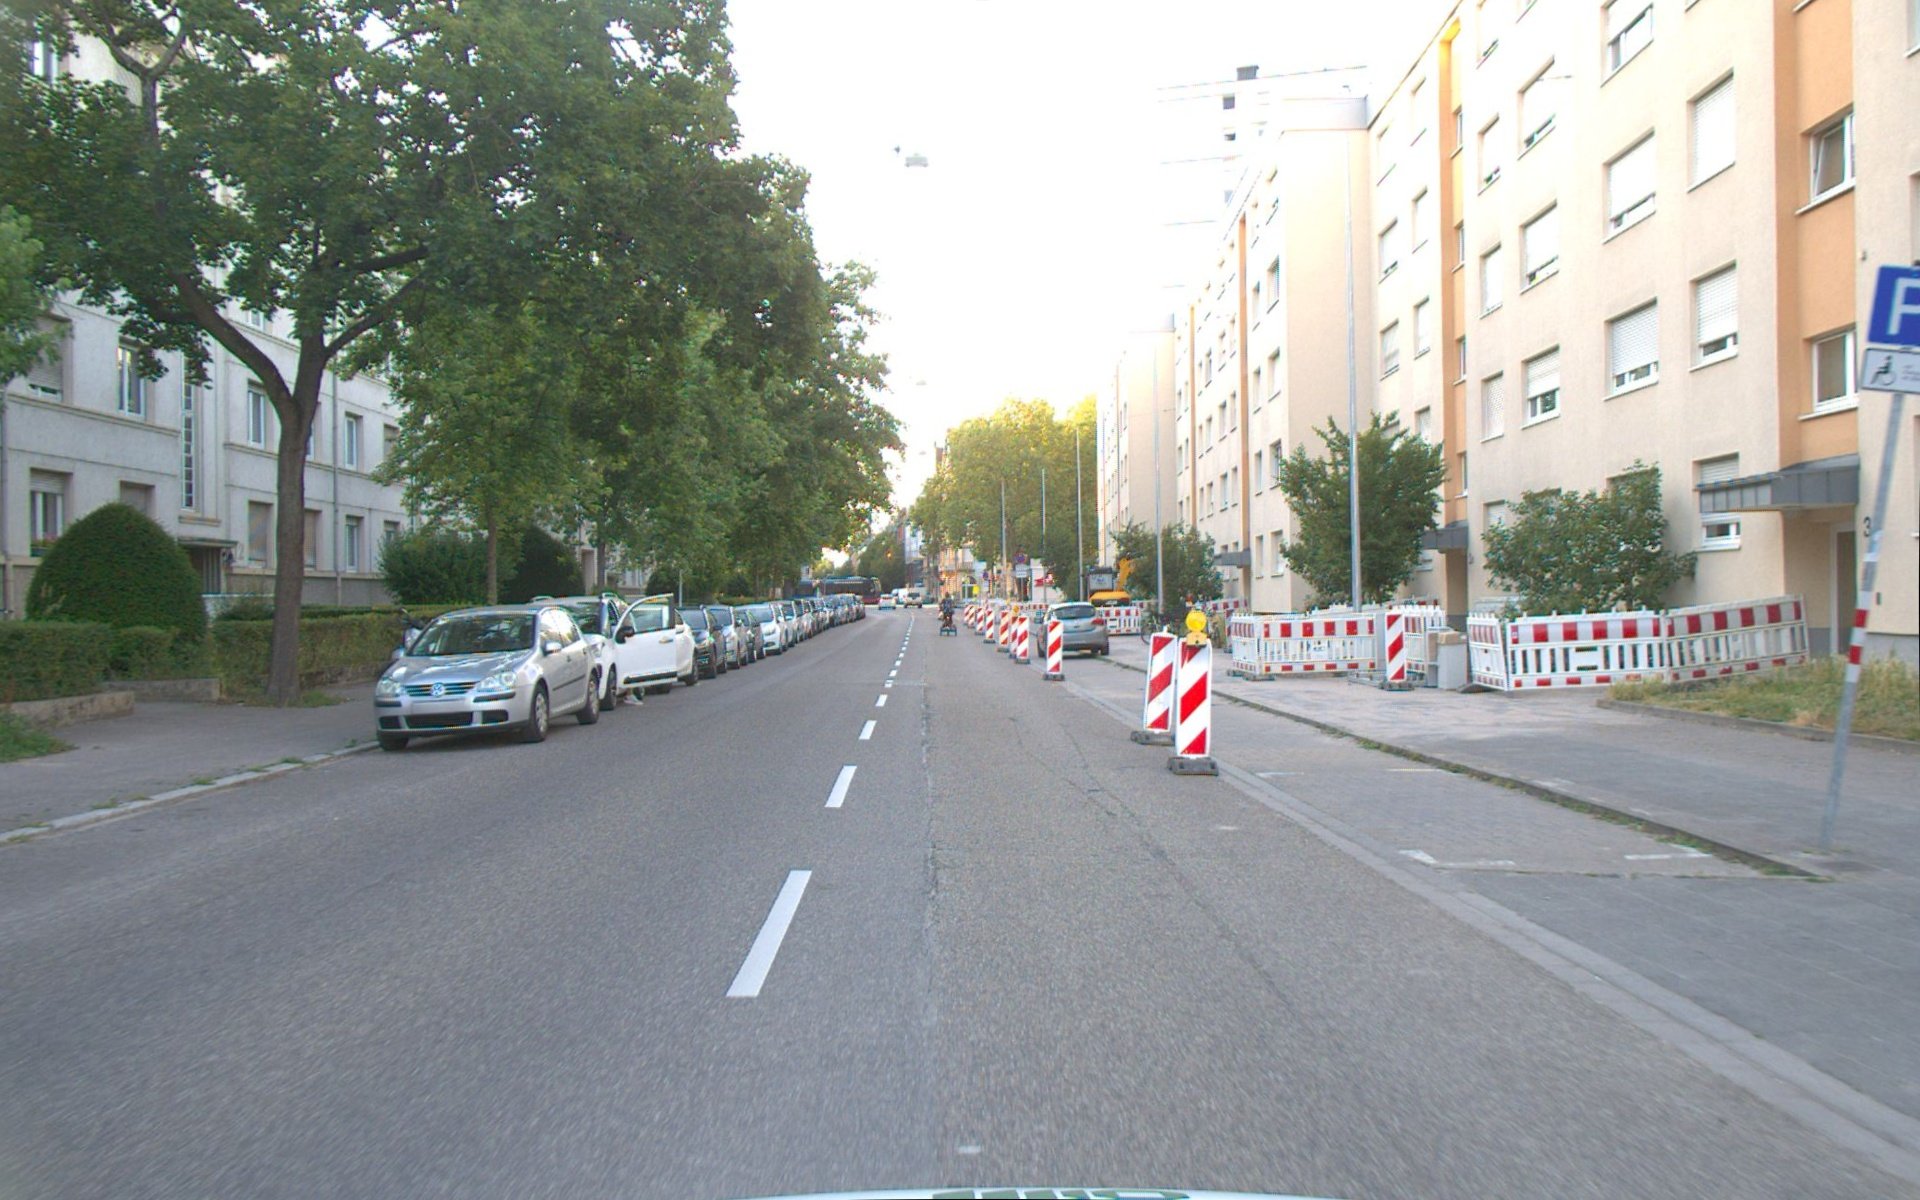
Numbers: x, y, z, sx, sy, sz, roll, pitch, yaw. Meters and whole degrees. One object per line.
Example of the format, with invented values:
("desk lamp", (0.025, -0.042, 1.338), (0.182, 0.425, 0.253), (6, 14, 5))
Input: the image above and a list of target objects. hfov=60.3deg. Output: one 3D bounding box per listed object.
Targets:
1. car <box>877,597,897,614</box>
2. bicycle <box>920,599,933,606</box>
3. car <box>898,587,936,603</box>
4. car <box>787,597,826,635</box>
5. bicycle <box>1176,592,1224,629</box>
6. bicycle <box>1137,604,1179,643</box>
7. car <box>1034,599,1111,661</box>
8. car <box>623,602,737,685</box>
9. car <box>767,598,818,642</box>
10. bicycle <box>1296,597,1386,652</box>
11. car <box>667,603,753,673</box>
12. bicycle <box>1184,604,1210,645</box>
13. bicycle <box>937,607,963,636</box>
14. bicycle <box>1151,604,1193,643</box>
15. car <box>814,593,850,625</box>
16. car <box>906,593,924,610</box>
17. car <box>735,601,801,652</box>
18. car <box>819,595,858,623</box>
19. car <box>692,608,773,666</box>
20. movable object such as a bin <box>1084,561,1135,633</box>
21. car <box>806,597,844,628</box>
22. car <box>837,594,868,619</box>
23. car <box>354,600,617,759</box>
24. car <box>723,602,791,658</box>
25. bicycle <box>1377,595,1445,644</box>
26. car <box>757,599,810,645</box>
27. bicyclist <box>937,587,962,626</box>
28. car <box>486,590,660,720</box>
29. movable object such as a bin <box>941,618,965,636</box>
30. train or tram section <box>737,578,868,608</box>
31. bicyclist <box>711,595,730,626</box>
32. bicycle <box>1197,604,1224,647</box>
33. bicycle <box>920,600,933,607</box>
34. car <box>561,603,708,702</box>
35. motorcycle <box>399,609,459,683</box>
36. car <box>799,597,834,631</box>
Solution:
("car", (-7.406, 0.521, 167.121), (1.829, 1.613, 3.997), (-1, 0, -4))
("bicycle", (-4.828, 0.325, 237.347), (1.877, 0.985, 0.545), (0, 0, -3))
("car", (-6.378, -0.747, 243.525), (5.780, 2.328, 2.038), (-1, 0, -45))
("car", (-6.806, 0.690, 73.461), (1.493, 1.555, 3.162), (-4, 0, -3))
("bicycle", (8.270, 0.351, 56.931), (1.562, 1.243, 0.484), (0, 0, -8))
("bicycle", (6.128, 0.721, 51.256), (0.548, 1.192, 1.805), (0, 0, -21))
("car", (3.096, 0.797, 46.317), (1.740, 1.516, 4.573), (-4, 0, 0))
("car", (-5.755, 0.846, 34.460), (1.718, 1.505, 4.676), (-4, 0, -3))
("car", (-6.518, 0.754, 64.537), (1.557, 1.555, 2.921), (-4, 0, 1))
("bicycle", (8.452, 0.551, 36.703), (1.775, 1.040, 0.558), (-6, -1, -1))
("car", (-5.927, 0.873, 39.506), (1.641, 1.485, 3.702), (-4, 0, -4))
("bicycle", (7.132, 0.730, 49.759), (0.544, 1.192, 1.817), (0, 0, 1))
("bicycle", (-0.428, 0.914, 71.943), (0.921, 1.192, 2.356), (-3, 0, -4))
("bicycle", (6.624, 0.730, 51.773), (0.616, 1.192, 1.808), (0, 0, -17))
("car", (-7.099, 0.510, 91.824), (1.673, 1.628, 4.115), (-4, 0, -1))
("car", (-4.932, 0.165, 181.377), (1.829, 1.846, 3.998), (-1, 0, -3))
("car", (-6.200, 0.842, 53.860), (1.658, 1.485, 4.482), (-4, 0, -2))
("car", (-7.055, 0.523, 96.630), (1.696, 1.523, 4.272), (-2, 0, 3))
("car", (-6.028, 0.950, 44.252), (1.641, 1.355, 4.578), (-4, 0, -2))
("movable object such as a bin", (5.887, -0.113, 65.432), (1.893, 2.740, 2.892), (-1, 0, 3))
("car", (-7.132, 0.632, 87.405), (1.673, 1.477, 3.842), (-4, 0, -1))
("car", (-7.594, 0.474, 117.173), (1.914, 1.645, 4.603), (-2, 0, -2))
("car", (-5.253, 0.807, 18.888), (1.717, 1.497, 4.223), (-4, 0, 0))
("car", (-6.008, 0.858, 49.294), (1.659, 1.485, 4.142), (-4, 0, -3))
("bicycle", (10.255, 0.441, 37.542), (1.802, 0.937, 0.549), (-5, -1, -43))
("car", (-6.420, 0.788, 60.434), (1.558, 1.531, 3.798), (-4, 0, -2))
("bicyclist", (-0.462, 0.287, 71.957), (0.921, 1.609, 1.145), (-3, 0, -5))
("car", (-5.649, 0.752, 24.628), (1.718, 1.660, 4.105), (-4, 0, -3))
("movable object such as a bin", (-0.289, 1.138, 70.269), (0.921, 0.701, 0.992), (-3, 0, -5))
("train or tram section", (-20.924, -0.893, 219.635), (16.647, 3.688, 5.048), (0, 0, 16))
("bicyclist", (-11.185, 0.491, 77.269), (0.792, 1.428, 0.973), (0, 0, -2))
("bicycle", (7.229, 0.722, 47.713), (0.544, 1.192, 1.817), (0, 0, 1))
("bicycle", (-4.794, 0.443, 237.330), (1.877, 0.985, 0.545), (0, 0, -3))
("car", (-5.632, 0.859, 29.081), (1.717, 1.505, 3.944), (-4, 0, 0))
("motorcycle", (-10.065, 0.852, 31.427), (0.574, 1.348, 1.828), (-1, 0, -1))
("car", (-7.181, 0.671, 83.007), (1.559, 1.565, 4.203), (-4, 0, -4))
